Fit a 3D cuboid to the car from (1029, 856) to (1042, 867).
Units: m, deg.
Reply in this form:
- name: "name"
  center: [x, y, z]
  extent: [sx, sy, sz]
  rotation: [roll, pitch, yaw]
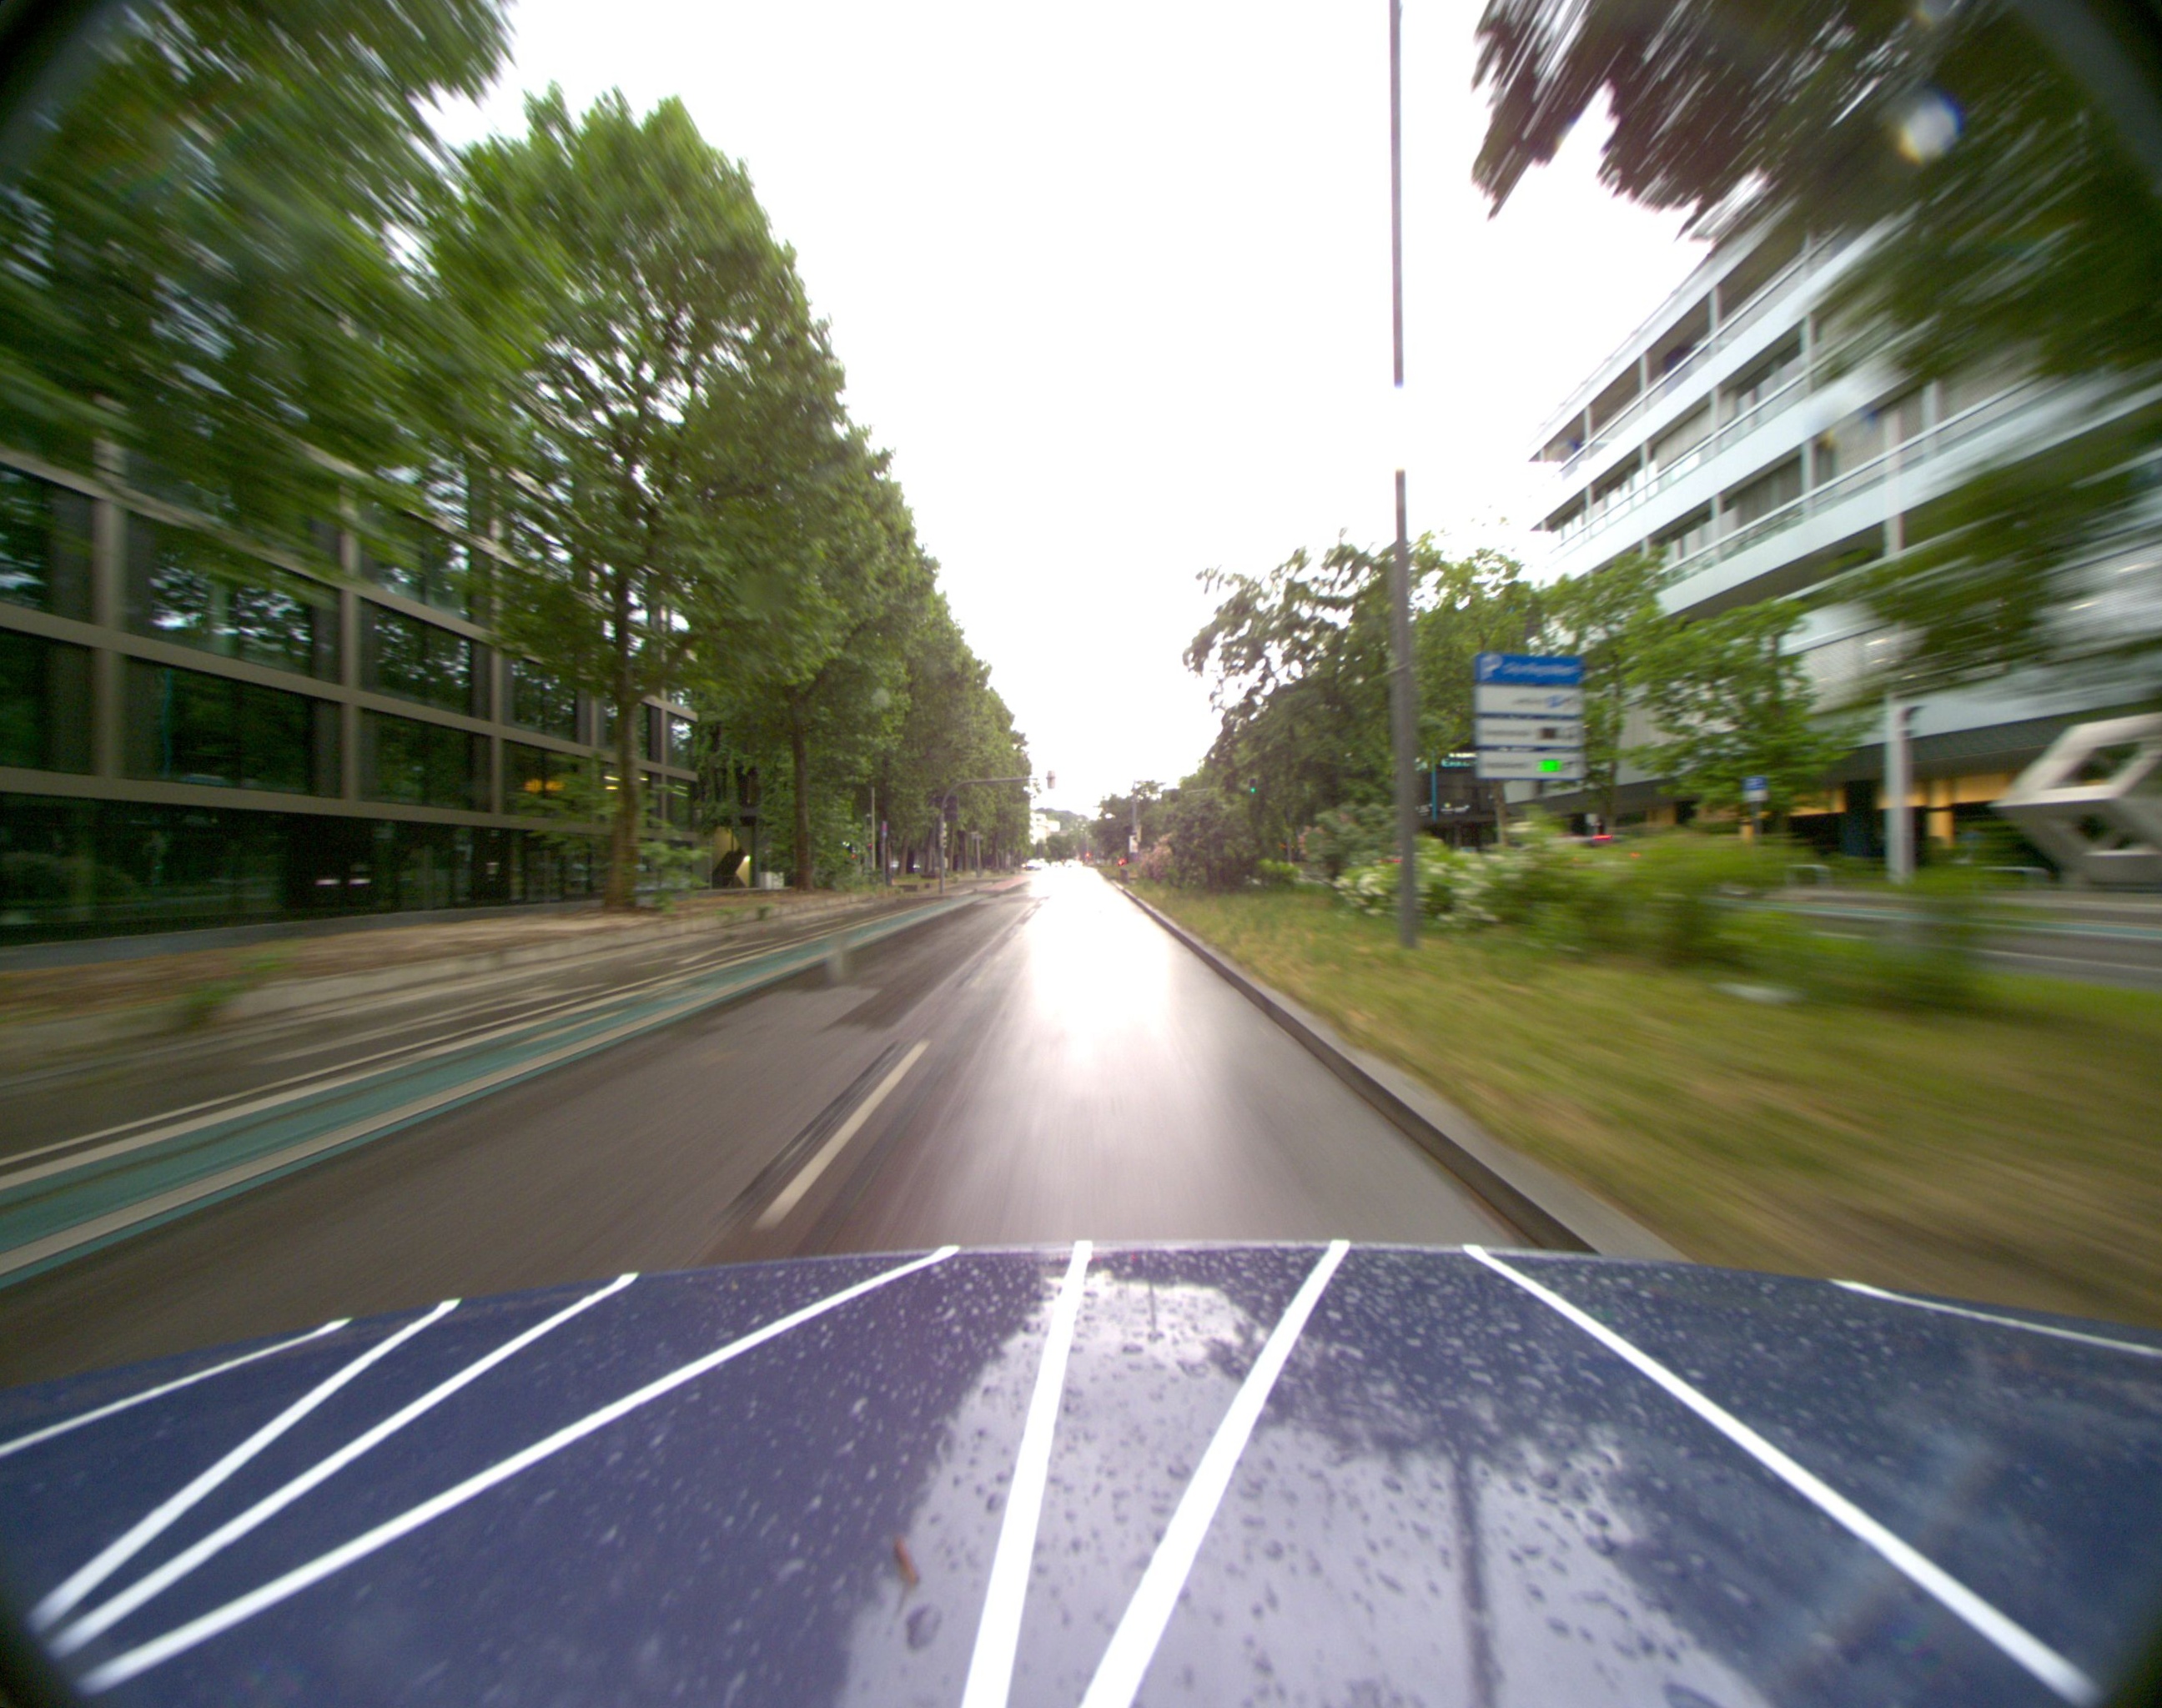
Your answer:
- name: "car"
  center: [-7.653, 1.267, 127.410]
  extent: [1.932, 1.726, 4.597]
  rotation: [-3, 1, -1]

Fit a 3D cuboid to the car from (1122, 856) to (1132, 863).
- name: "car"
  center: [10.646, 1.275, 175.816]
  extent: [1.678, 1.381, 3.527]
  rotation: [-3, 1, -3]

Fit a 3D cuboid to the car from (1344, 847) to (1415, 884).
- name: "car"
  center: [14.768, 0.514, 37.864]
  extent: [1.914, 1.575, 4.747]
  rotation: [-3, 1, 4]

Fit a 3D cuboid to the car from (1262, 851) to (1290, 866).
- name: "car"
  center: [19.935, 0.427, 77.808]
  extent: [1.875, 1.377, 4.537]
  rotation: [-3, 1, 3]

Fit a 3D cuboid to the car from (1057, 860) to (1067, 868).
- name: "car"
  center: [-3.956, 2.013, 158.583]
  extent: [1.780, 1.546, 3.929]
  rotation: [-3, 1, -1]

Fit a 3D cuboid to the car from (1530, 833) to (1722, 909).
- name: "car"
  center: [14.475, 0.423, 20.589]
  extent: [1.918, 1.746, 4.675]
  rotation: [-3, 0, 2]

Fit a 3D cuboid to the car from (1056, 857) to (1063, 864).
- name: "car"
  center: [-5.273, 1.572, 183.346]
  extent: [1.557, 1.534, 3.663]
  rotation: [-3, 1, -1]
